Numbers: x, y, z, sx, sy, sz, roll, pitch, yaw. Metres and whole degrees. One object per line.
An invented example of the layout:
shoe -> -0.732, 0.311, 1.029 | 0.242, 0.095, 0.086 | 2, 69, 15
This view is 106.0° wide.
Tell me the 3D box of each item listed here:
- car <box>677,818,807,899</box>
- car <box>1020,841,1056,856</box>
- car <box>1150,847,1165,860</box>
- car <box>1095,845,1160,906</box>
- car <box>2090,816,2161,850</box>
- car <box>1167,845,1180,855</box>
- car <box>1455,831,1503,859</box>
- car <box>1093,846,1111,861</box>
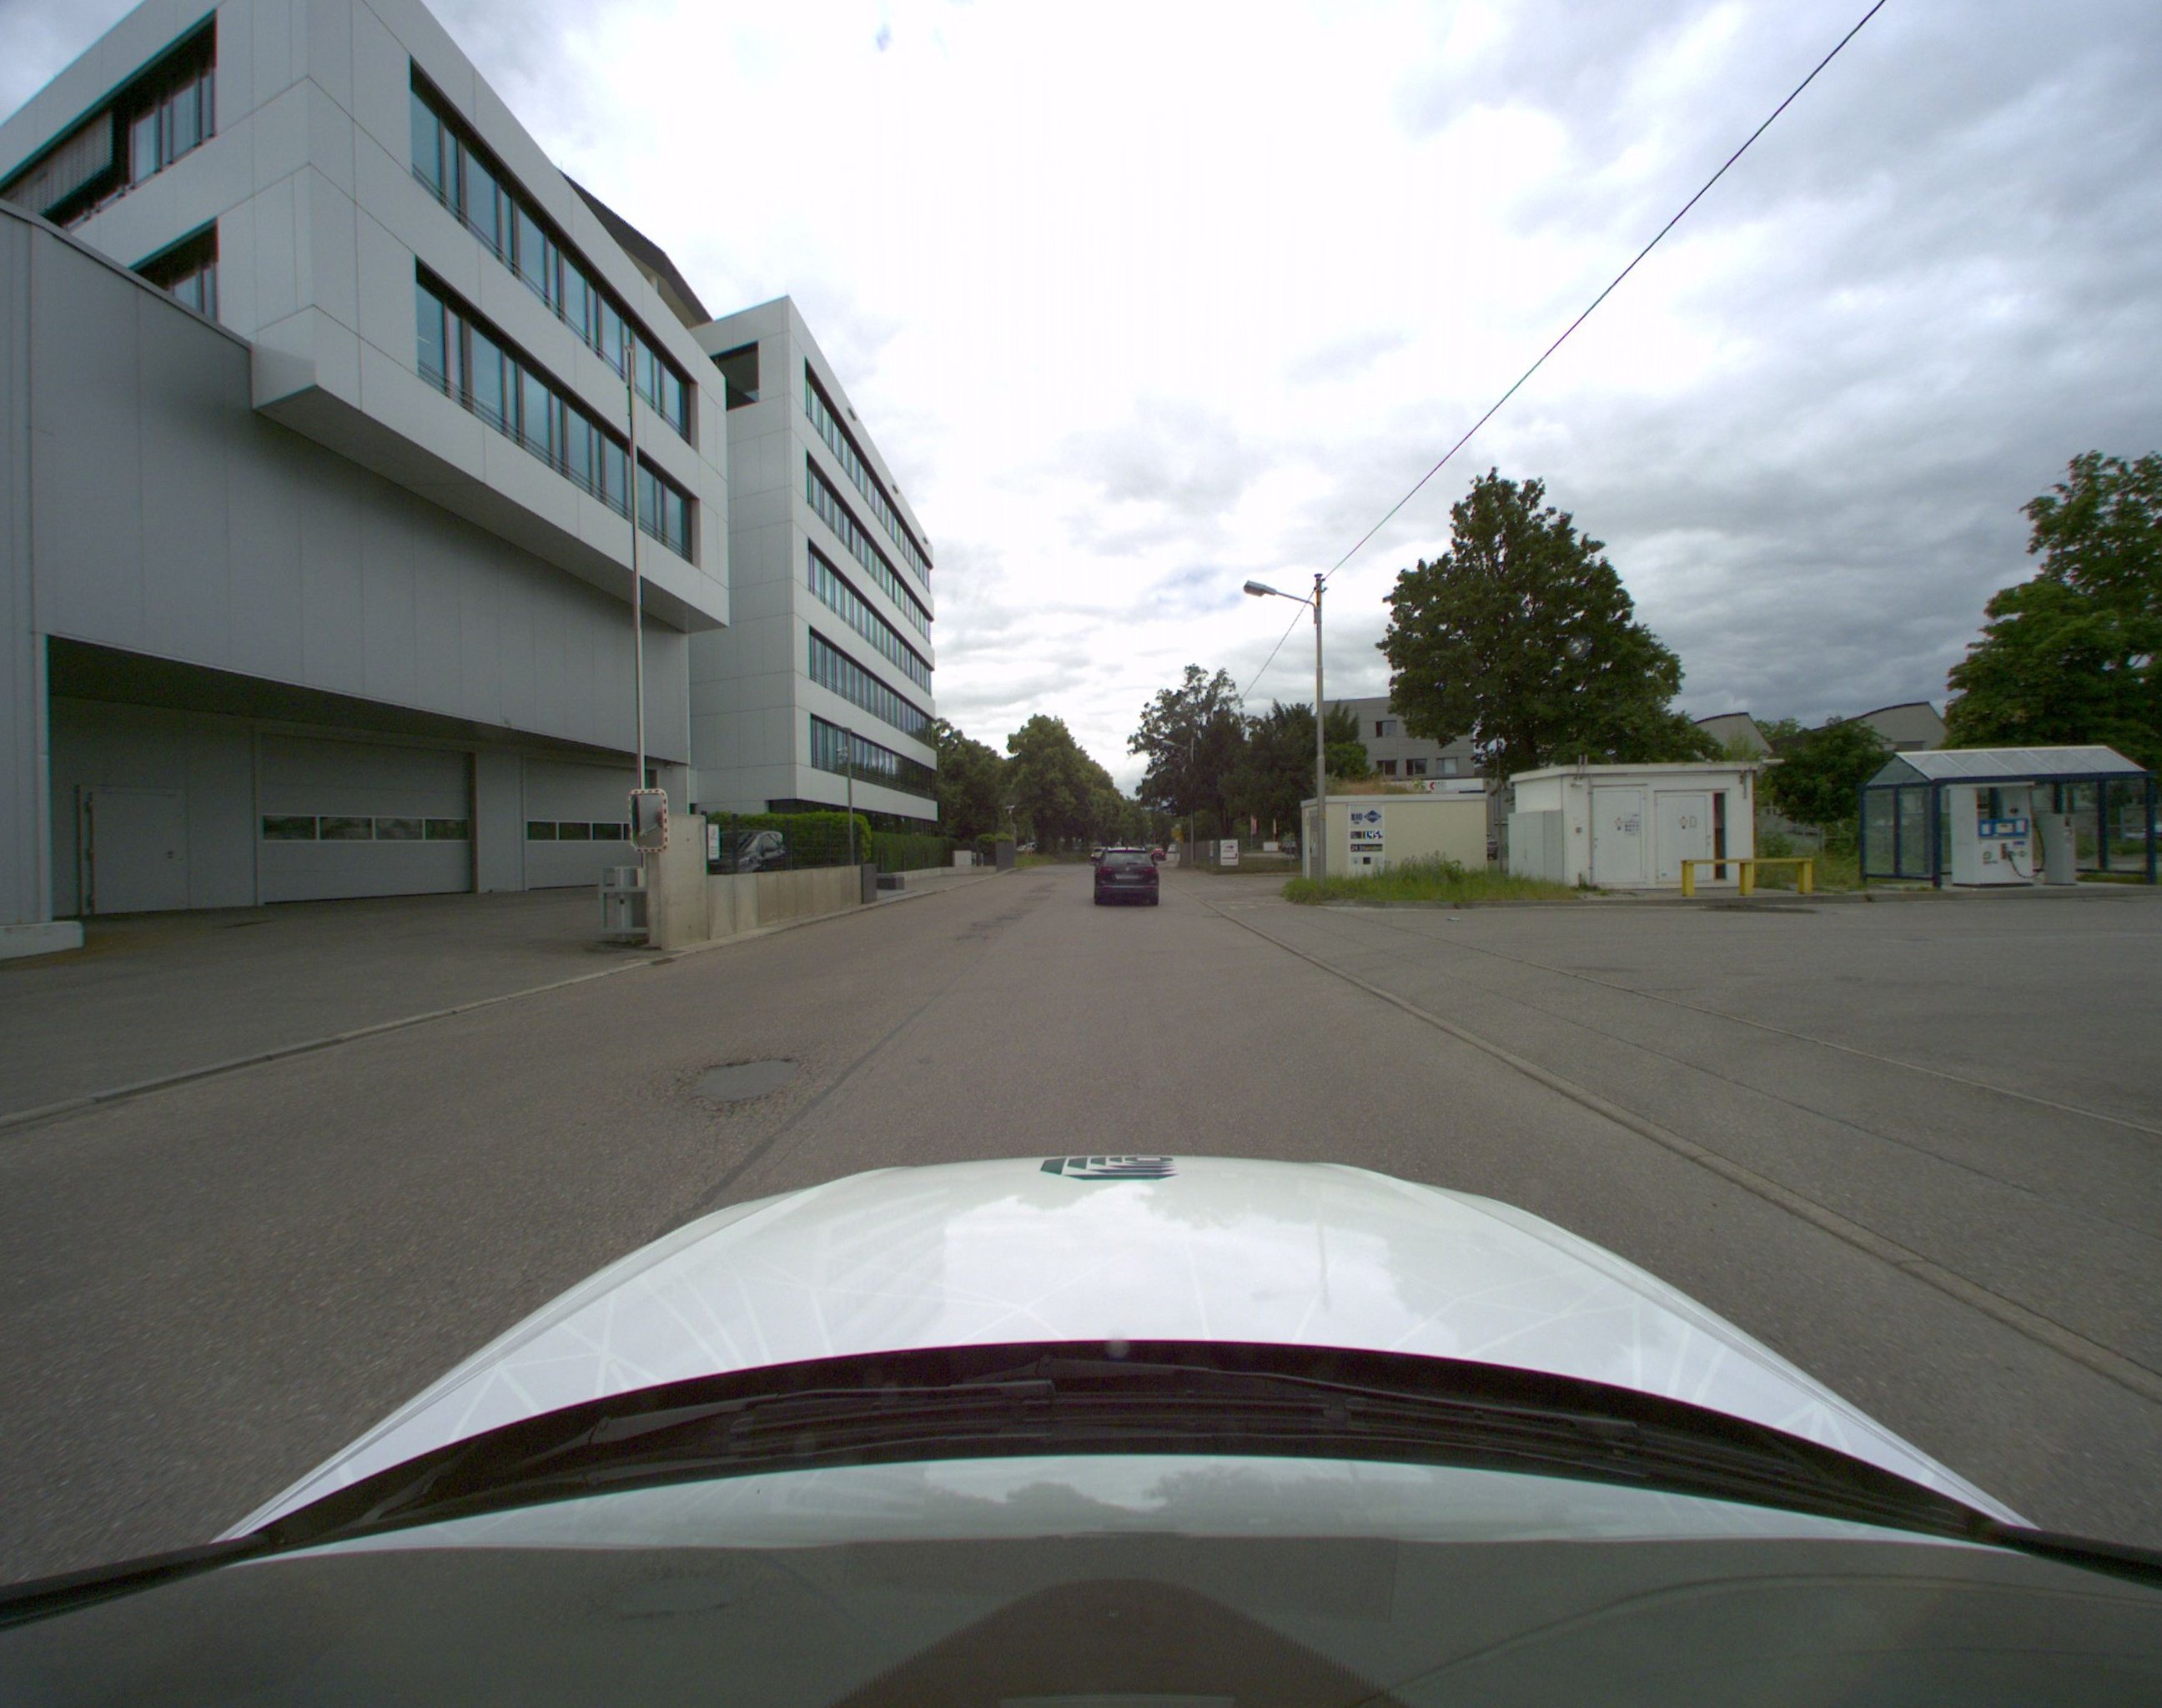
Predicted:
car -> -7.985, 0.088, 19.485 | 1.643, 1.761, 3.181 | 0, 0, 3
car -> -7.672, -0.997, 144.869 | 6.043, 2.387, 2.397 | -1, 1, 4
car -> 9.710, -0.106, 103.731 | 1.652, 1.574, 3.831 | -2, 0, 3
car -> 1.375, 0.582, 23.877 | 1.731, 1.618, 3.645 | 1, 0, 4
car -> 51.329, -1.048, 38.476 | 4.401, 1.520, 2.005 | -2, 1, 8
car -> 16.519, -0.725, 144.951 | 1.980, 1.786, 4.013 | 0, 0, 12
car -> 24.421, -0.574, 50.110 | 1.978, 1.612, 4.462 | -2, 1, 17
car -> 2.523, -0.034, 97.425 | 1.799, 1.764, 4.212 | 0, 0, 5
